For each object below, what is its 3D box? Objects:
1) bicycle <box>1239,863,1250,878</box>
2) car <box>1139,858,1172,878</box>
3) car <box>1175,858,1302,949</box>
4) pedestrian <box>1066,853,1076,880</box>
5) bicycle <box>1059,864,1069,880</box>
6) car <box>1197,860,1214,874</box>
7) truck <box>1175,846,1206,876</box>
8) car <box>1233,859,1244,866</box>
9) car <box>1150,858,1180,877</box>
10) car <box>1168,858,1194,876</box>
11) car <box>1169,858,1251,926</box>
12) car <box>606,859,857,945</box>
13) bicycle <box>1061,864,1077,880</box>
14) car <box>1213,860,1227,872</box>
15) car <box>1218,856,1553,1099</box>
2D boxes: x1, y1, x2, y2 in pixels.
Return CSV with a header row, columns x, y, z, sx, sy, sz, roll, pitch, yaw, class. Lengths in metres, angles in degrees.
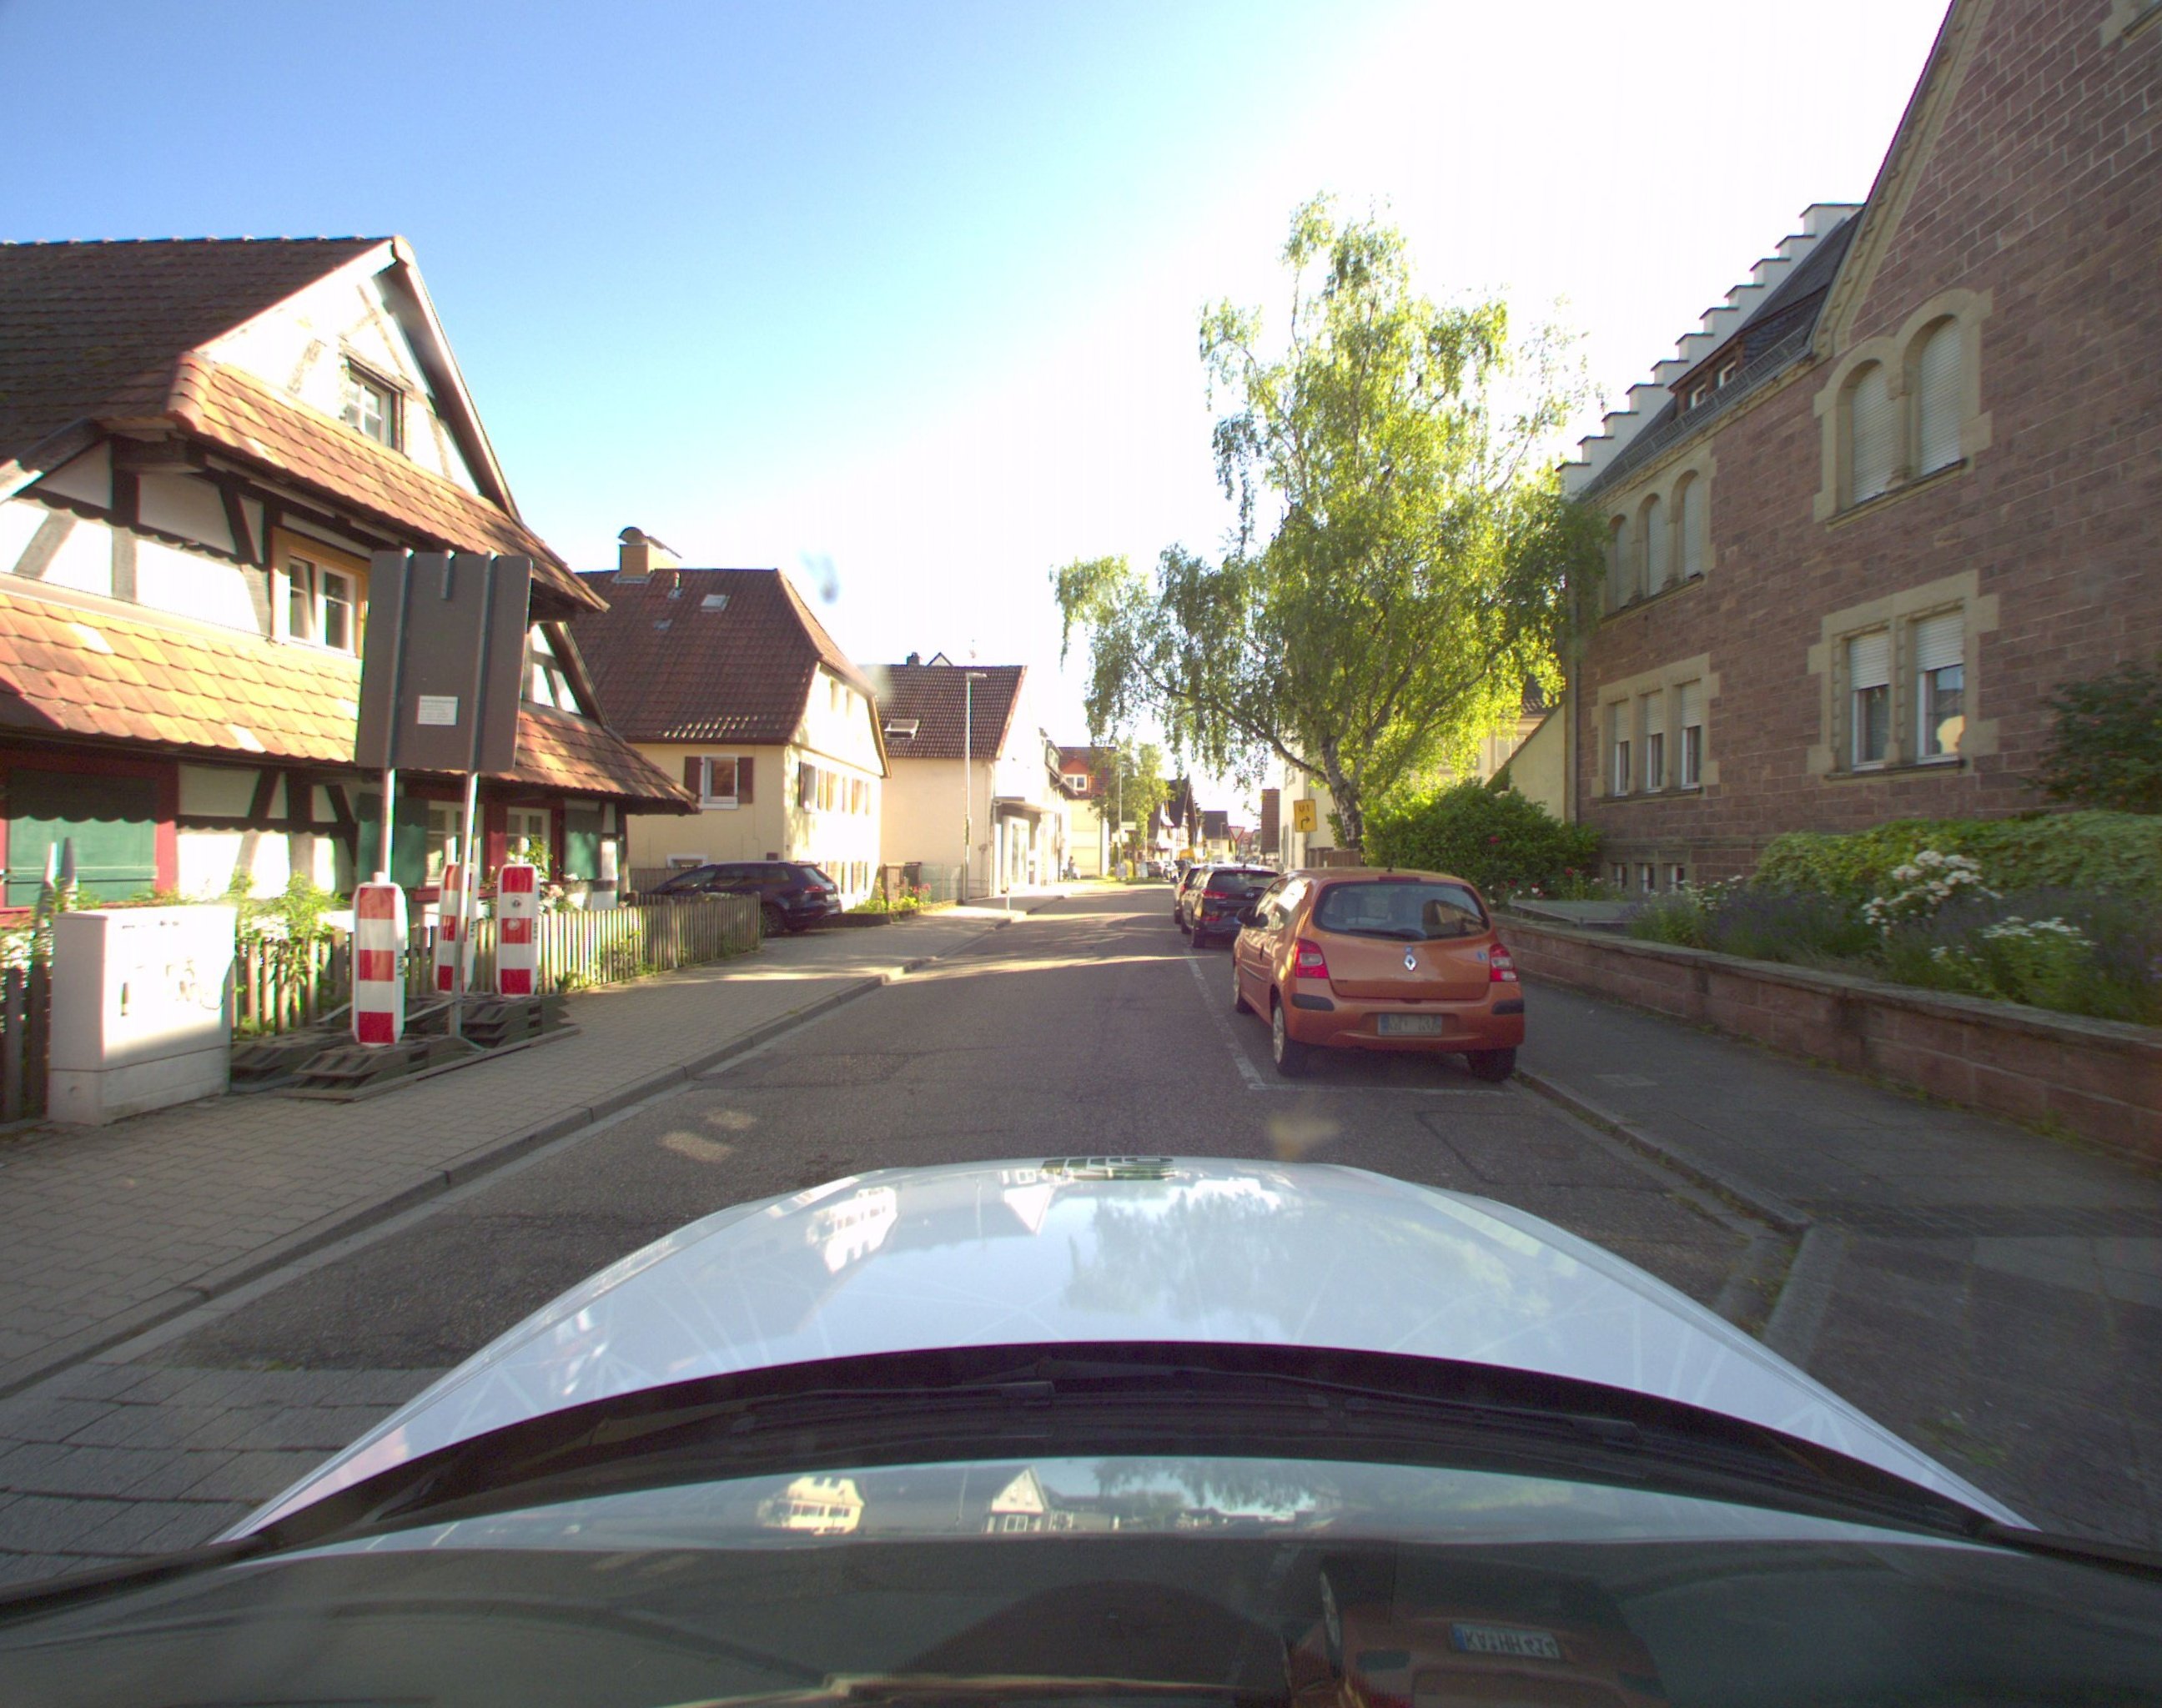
x,y,z,sx,sy,sz,roll,pitch,yaw,class
12.803,1.275,63.720,0.429,1.176,1.839,0,-1,23,bicycle
5.844,1.106,63.443,1.853,1.506,4.124,0,-1,16,car
2.837,0.829,15.539,1.800,1.436,4.289,1,0,3,car
-0.643,0.811,52.274,0.480,1.693,0.558,1,-2,10,pedestrian
-1.081,1.155,52.154,0.421,1.052,1.384,0,-2,7,bicycle
13.833,1.438,90.341,1.634,1.433,3.627,1,0,13,car
11.000,0.711,81.641,2.251,2.868,5.806,0,-1,16,truck
37.575,2.108,194.064,1.966,1.583,3.996,1,0,1,car
7.016,1.147,67.695,1.793,1.506,4.124,0,-1,16,car
9.419,1.224,76.338,1.793,1.622,3.896,0,-1,16,car
3.141,0.853,20.267,1.798,1.436,4.294,1,0,7,car
-6.832,0.905,16.249,4.144,1.462,1.848,-2,0,0,car
-0.817,1.211,55.567,0.574,1.052,2.043,0,-2,14,bicycle
17.633,1.510,103.132,1.577,1.443,3.627,1,0,13,car
2.241,0.777,7.092,1.641,1.479,3.937,1,0,3,car
